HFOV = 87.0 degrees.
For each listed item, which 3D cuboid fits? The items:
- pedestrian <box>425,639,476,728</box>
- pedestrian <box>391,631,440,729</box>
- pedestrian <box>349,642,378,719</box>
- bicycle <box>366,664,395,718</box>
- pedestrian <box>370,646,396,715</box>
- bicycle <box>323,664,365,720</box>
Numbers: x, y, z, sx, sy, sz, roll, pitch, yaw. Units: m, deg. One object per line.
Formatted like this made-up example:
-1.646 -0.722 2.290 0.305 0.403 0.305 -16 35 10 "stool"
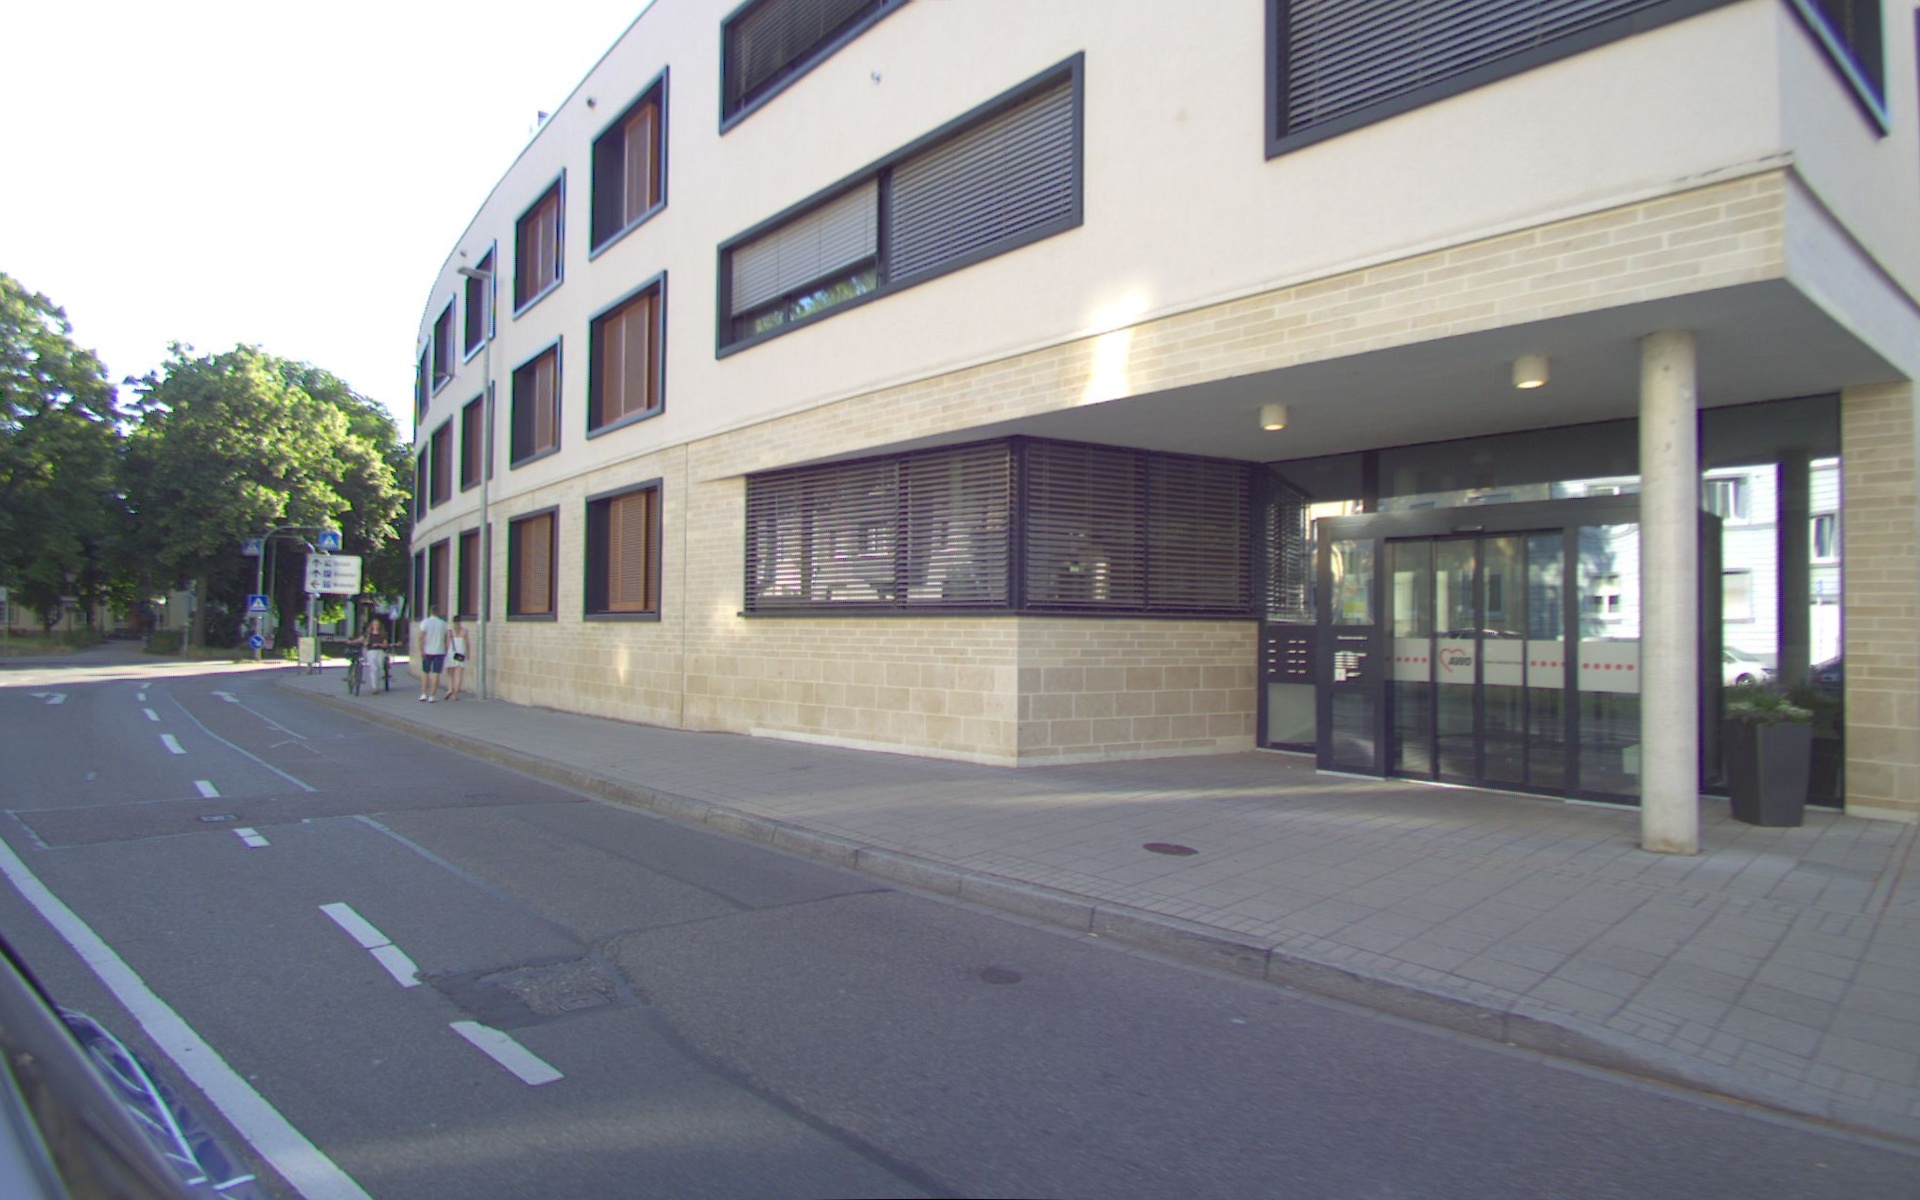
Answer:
-10.259 1.658 20.382 0.694 1.727 0.844 2 -3 -43 "pedestrian"
-10.733 1.551 19.955 0.598 1.863 0.994 2 -3 -42 "pedestrian"
-13.153 1.764 22.302 0.467 1.660 0.604 3 -4 -31 "pedestrian"
-13.239 2.054 23.123 0.371 1.176 1.841 1 -3 -36 "bicycle"
-13.385 1.856 23.463 0.467 1.577 0.604 2 -4 -31 "pedestrian"
-13.647 2.005 22.408 0.435 1.187 1.969 2 -4 -42 "bicycle"
